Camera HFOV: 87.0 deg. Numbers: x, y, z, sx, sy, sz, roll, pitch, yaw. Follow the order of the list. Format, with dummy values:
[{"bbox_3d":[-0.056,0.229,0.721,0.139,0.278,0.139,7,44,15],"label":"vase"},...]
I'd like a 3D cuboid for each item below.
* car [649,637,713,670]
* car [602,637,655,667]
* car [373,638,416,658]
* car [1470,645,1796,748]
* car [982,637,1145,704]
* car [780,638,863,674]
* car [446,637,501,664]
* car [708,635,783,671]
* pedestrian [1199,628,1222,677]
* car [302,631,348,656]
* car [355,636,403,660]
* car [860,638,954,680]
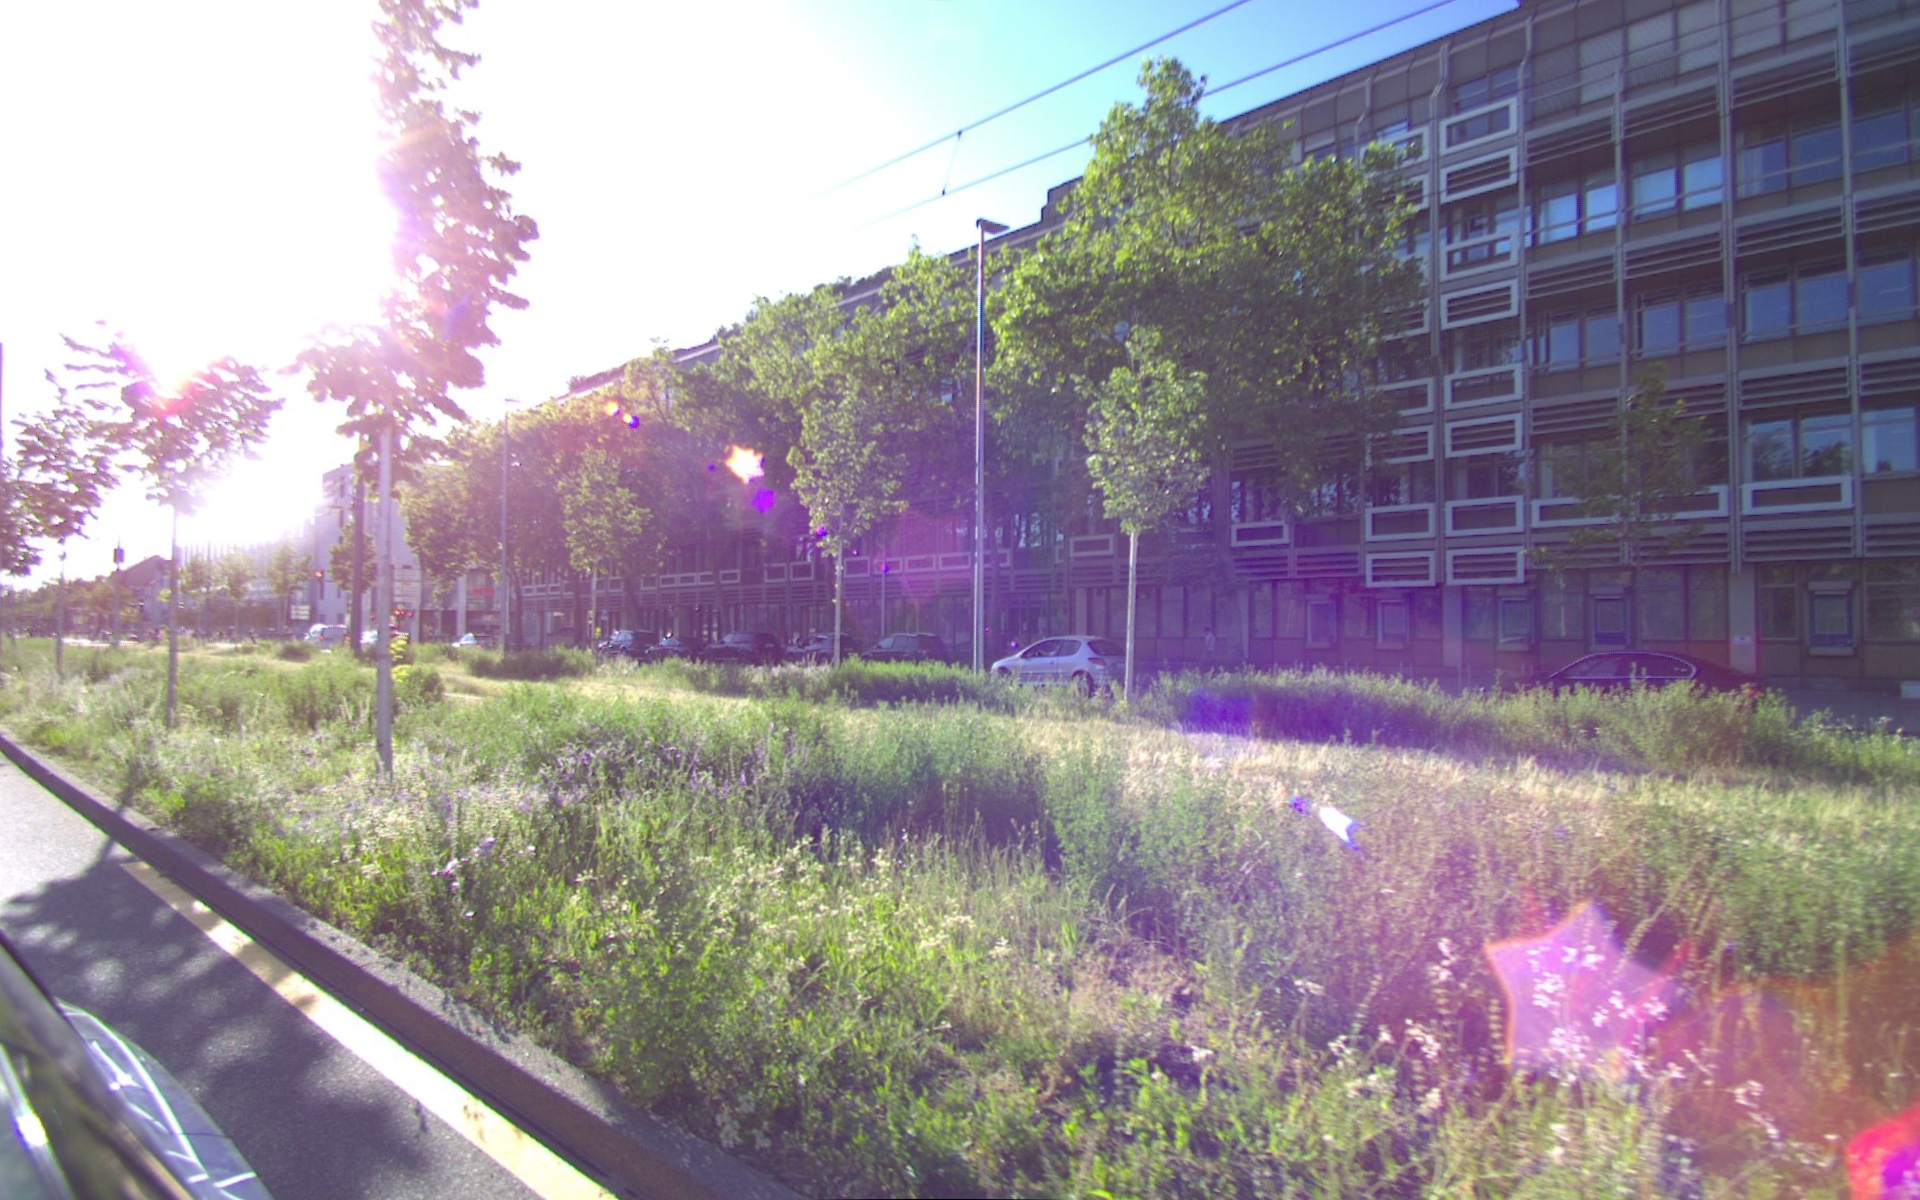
[{"bbox_3d":[-14.475,2.724,52.391,3.525,1.614,1.491,-2,-1,41],"label":"car"},{"bbox_3d":[-18.513,2.866,56.444,3.265,1.614,1.372,-2,-1,41],"label":"car"},{"bbox_3d":[-39.680,3.342,70.950,3.780,1.390,1.534,-2,-3,43],"label":"car"},{"bbox_3d":[11.351,1.543,17.297,4.417,1.507,1.609,-2,-3,43],"label":"car"},{"bbox_3d":[2.468,1.662,24.751,3.780,1.507,1.609,-2,-3,43],"label":"car"},{"bbox_3d":[-6.169,2.454,44.944,3.630,1.497,1.704,-2,-1,41],"label":"car"},{"bbox_3d":[-28.501,2.940,59.235,3.780,1.507,1.609,-2,-3,43],"label":"car"},{"bbox_3d":[-10.337,2.535,48.745,3.630,1.614,1.704,-2,-1,41],"label":"car"},{"bbox_3d":[9.091,1.893,36.764,0.639,1.763,0.477,-2,-4,43],"label":"pedestrian"},{"bbox_3d":[-44.944,3.086,71.572,3.780,1.694,1.840,-2,-3,43],"label":"car"},{"bbox_3d":[-35.789,2.945,62.323,3.780,1.390,1.534,-2,-3,43],"label":"car"},{"bbox_3d":[-2.160,2.325,40.643,3.630,1.556,1.704,-2,-1,41],"label":"car"}]
